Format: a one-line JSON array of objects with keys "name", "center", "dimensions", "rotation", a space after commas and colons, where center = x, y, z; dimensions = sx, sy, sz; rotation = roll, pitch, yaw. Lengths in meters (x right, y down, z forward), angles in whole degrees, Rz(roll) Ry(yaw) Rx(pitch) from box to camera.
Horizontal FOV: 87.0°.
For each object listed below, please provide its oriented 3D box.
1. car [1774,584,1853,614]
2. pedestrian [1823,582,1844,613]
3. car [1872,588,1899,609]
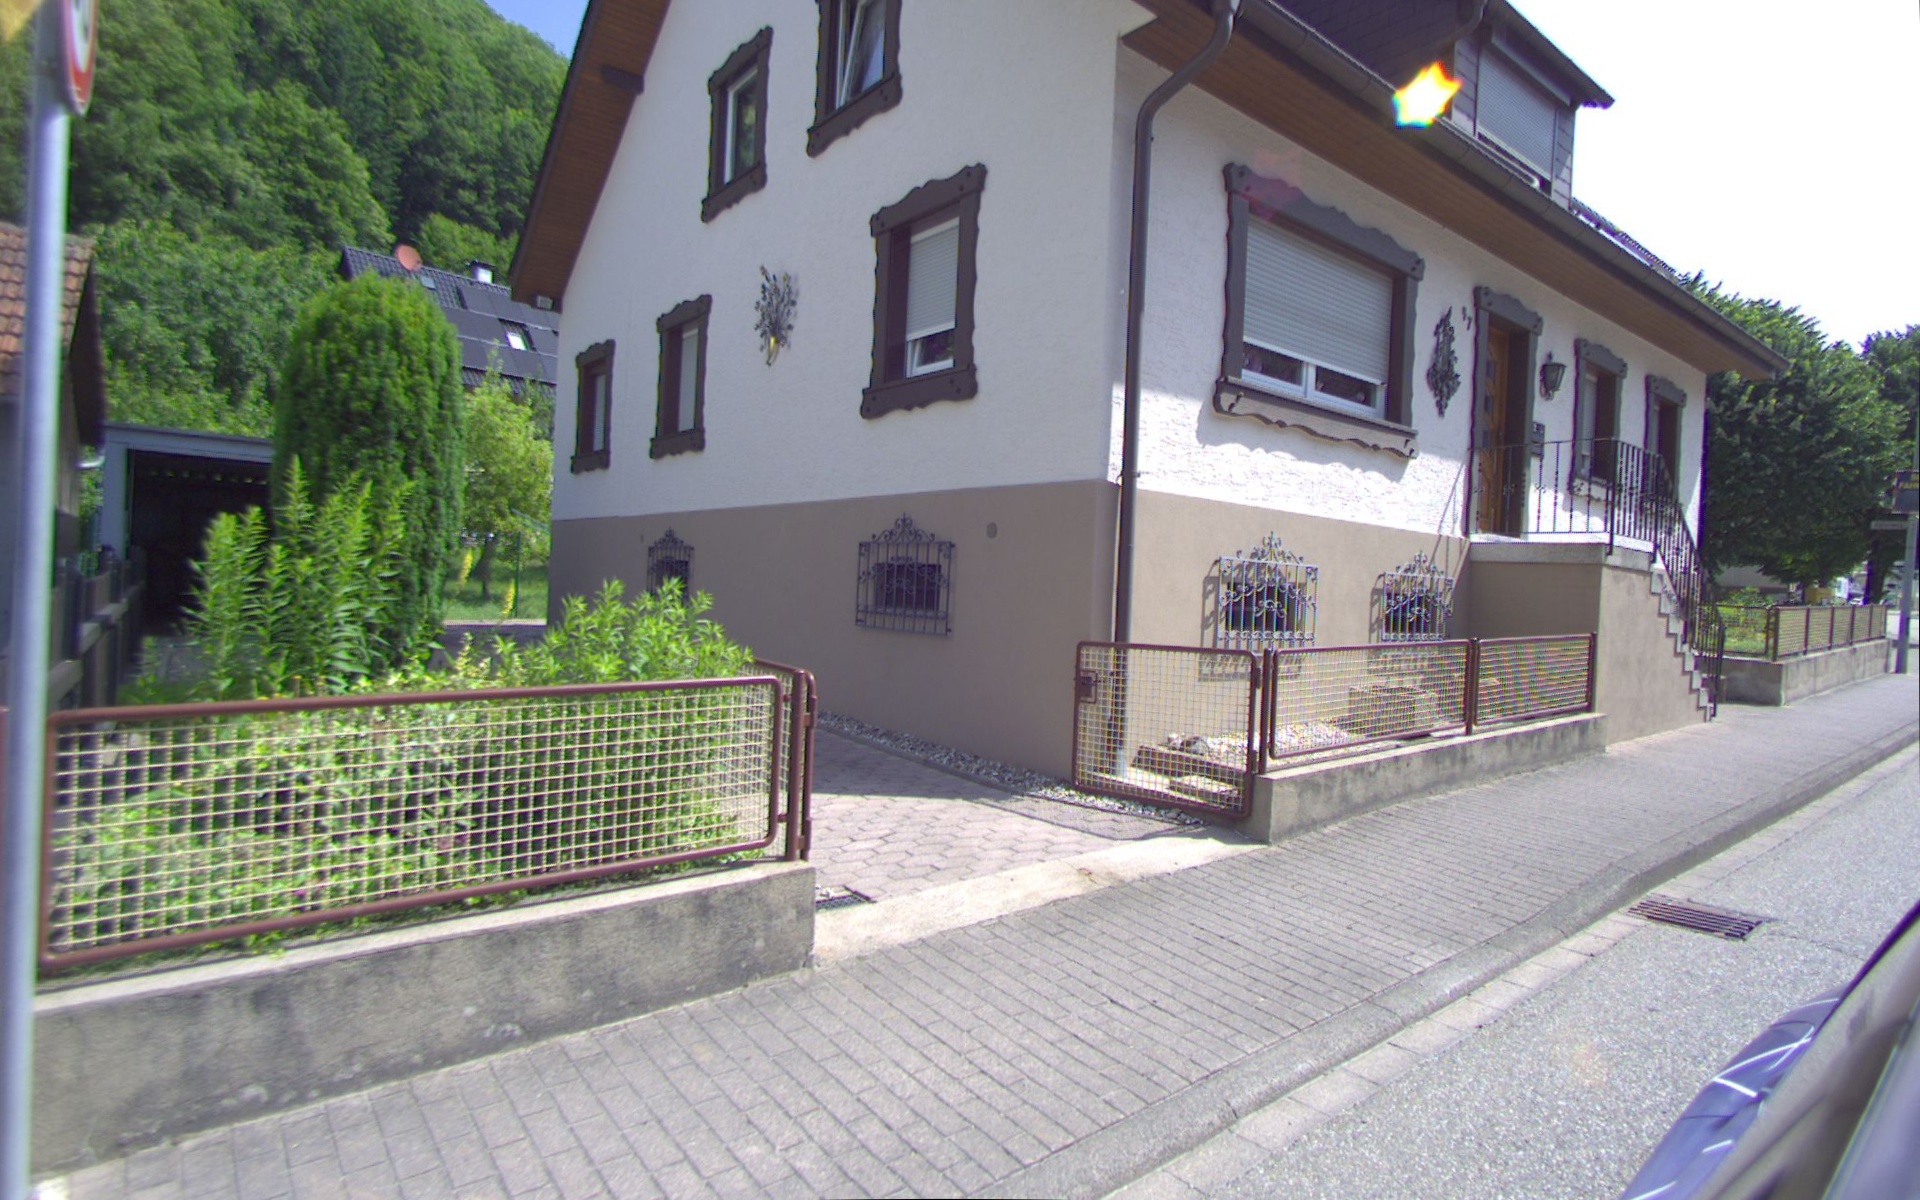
[{"name": "car", "center": [53.869, -0.069, 63.929], "dimensions": [1.617, 1.615, 3.353], "rotation": [1, 3, -27]}, {"name": "pedestrian", "center": [49.374, -0.152, 57.218], "dimensions": [0.699, 1.691, 0.682], "rotation": [1, 3, -40]}, {"name": "car", "center": [96.293, -0.169, 105.301], "dimensions": [1.993, 2.039, 3.938], "rotation": [-1, 0, 43]}]
